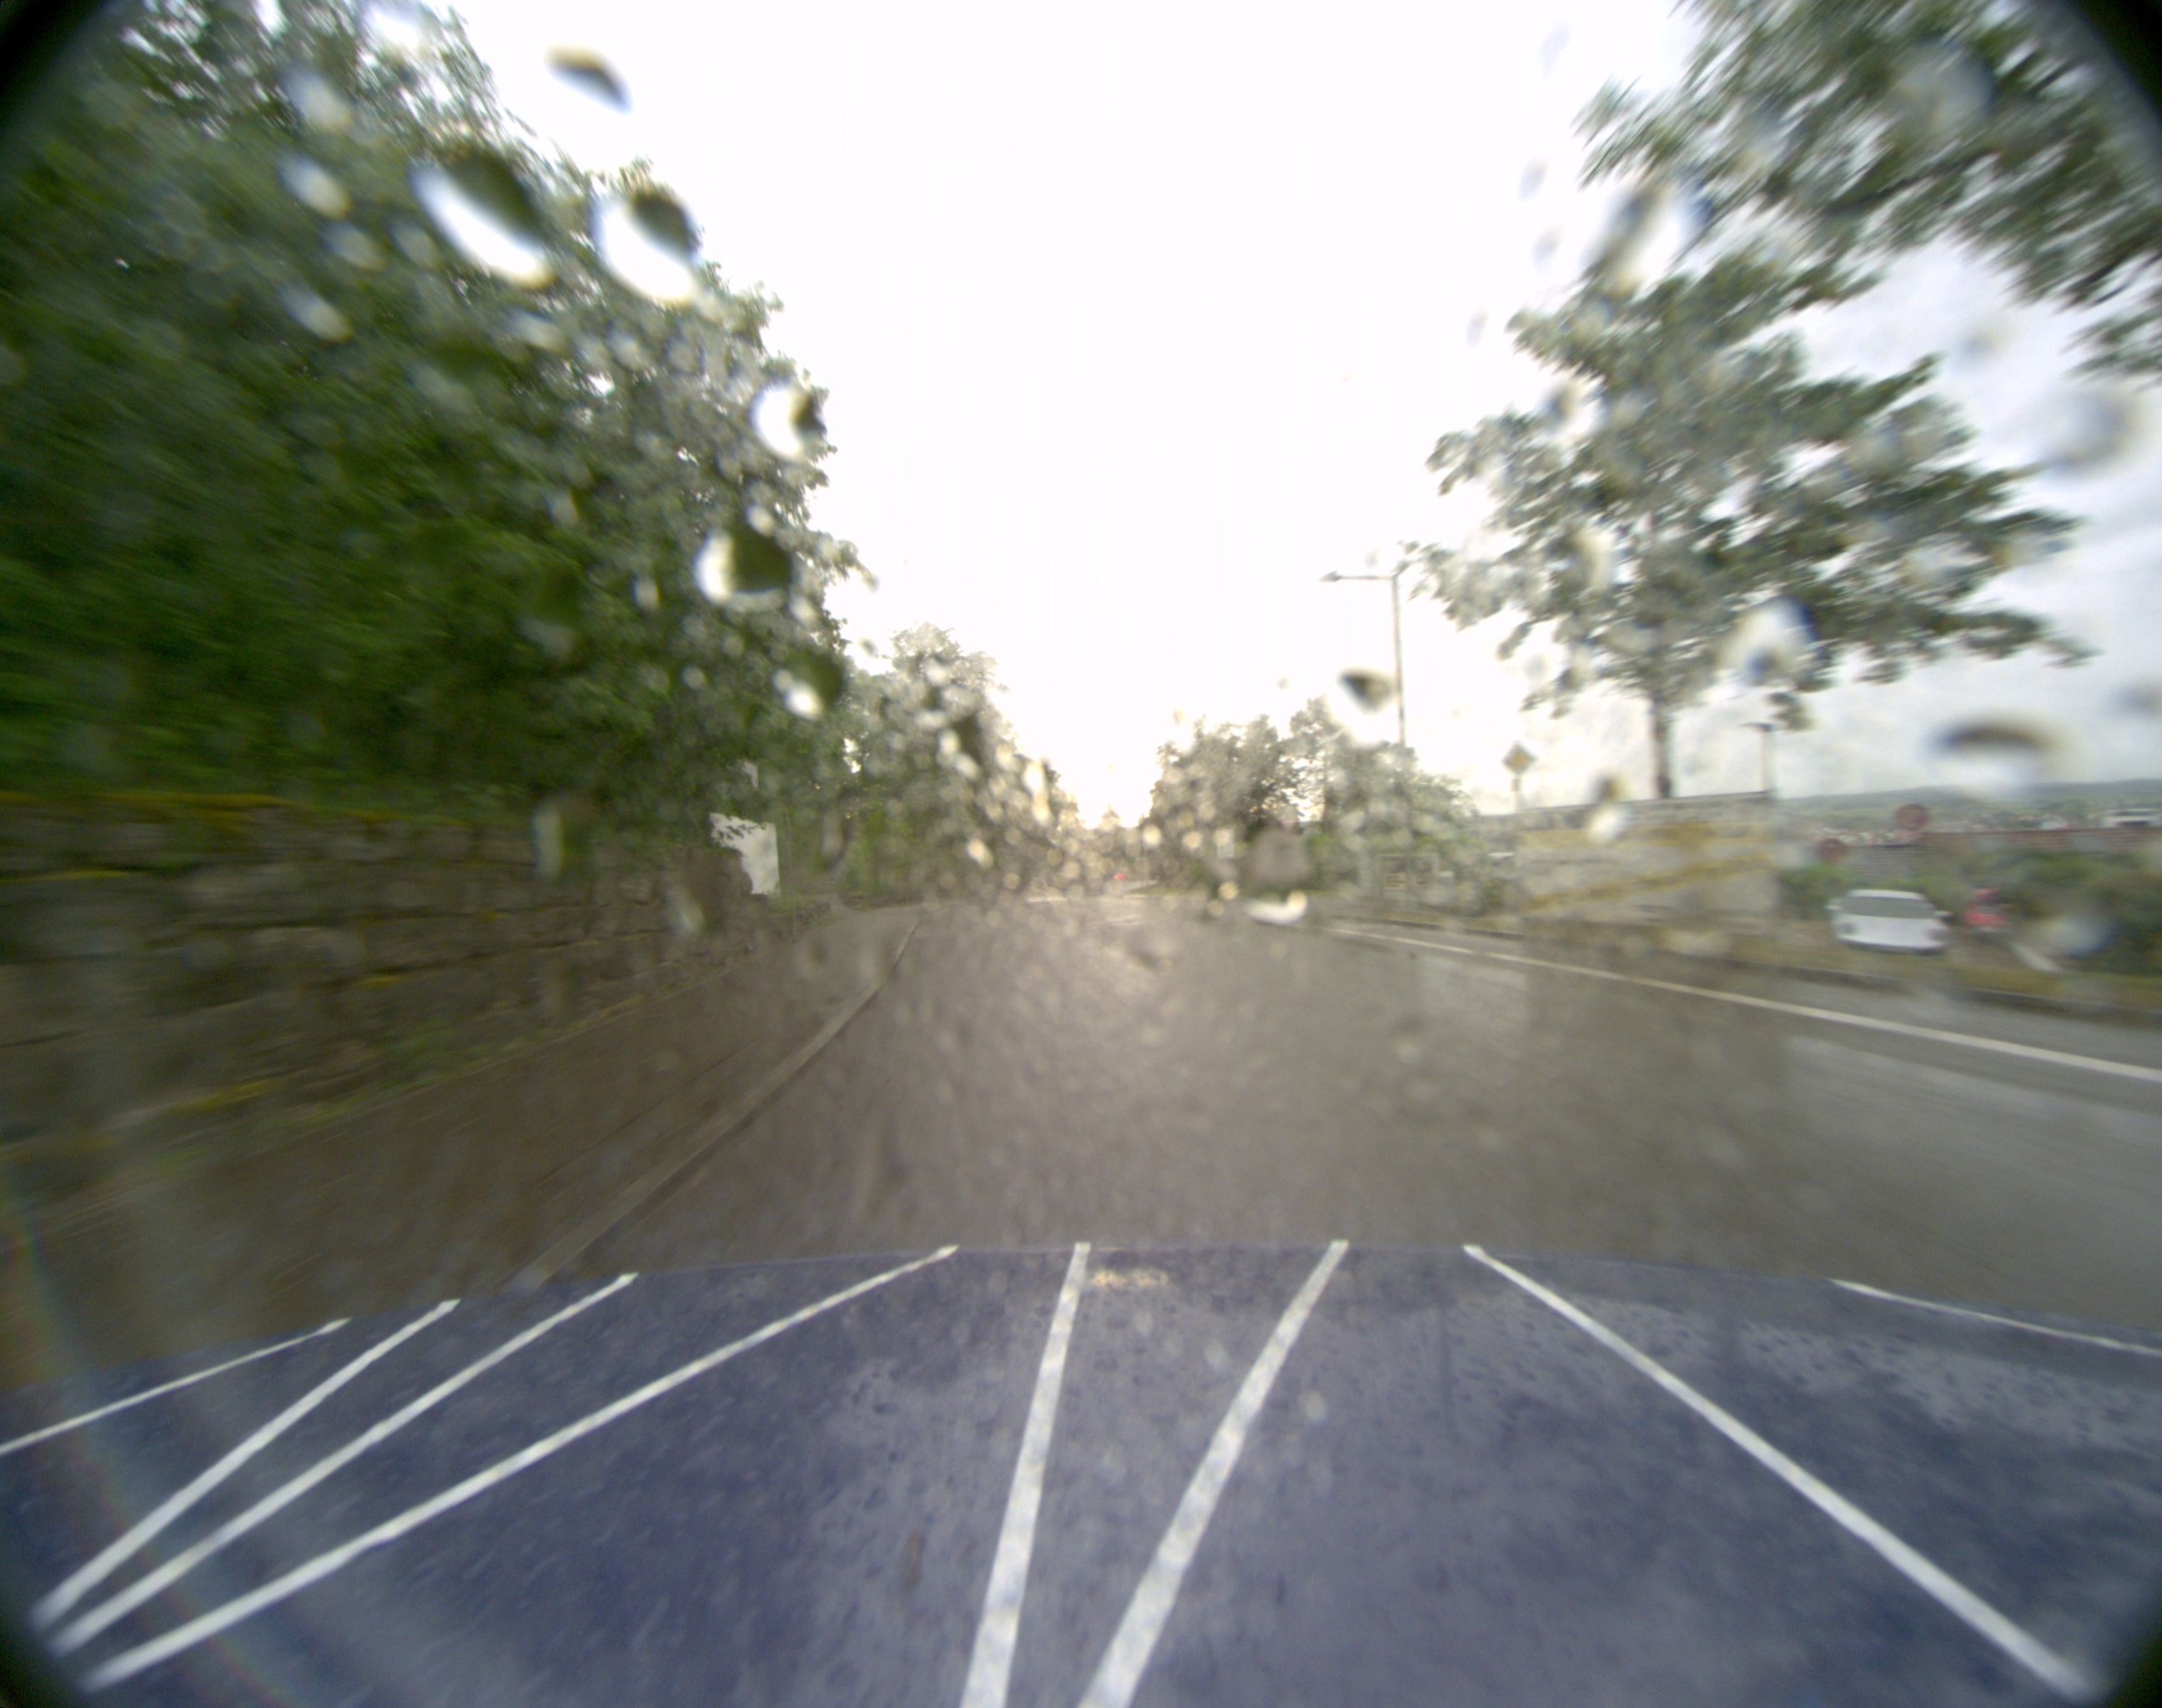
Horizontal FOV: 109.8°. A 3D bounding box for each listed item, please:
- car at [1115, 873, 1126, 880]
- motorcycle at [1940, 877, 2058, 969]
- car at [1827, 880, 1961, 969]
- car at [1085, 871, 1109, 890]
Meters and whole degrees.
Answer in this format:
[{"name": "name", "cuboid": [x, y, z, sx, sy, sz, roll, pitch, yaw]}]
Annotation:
[{"name": "car", "cuboid": [9.004, 5.098, 174.019, 1.924, 1.638, 4.544, -1, -1, -6]}, {"name": "motorcycle", "cuboid": [21.218, 1.529, 17.674, 1.215, 1.259, 3.877, -6, 6, 44]}, {"name": "car", "cuboid": [19.606, 1.585, 18.506, 1.781, 1.247, 4.252, 4, 9, 41]}, {"name": "car", "cuboid": [1.452, 2.265, 66.556, 1.836, 1.511, 4.629, -2, -1, 5]}]
